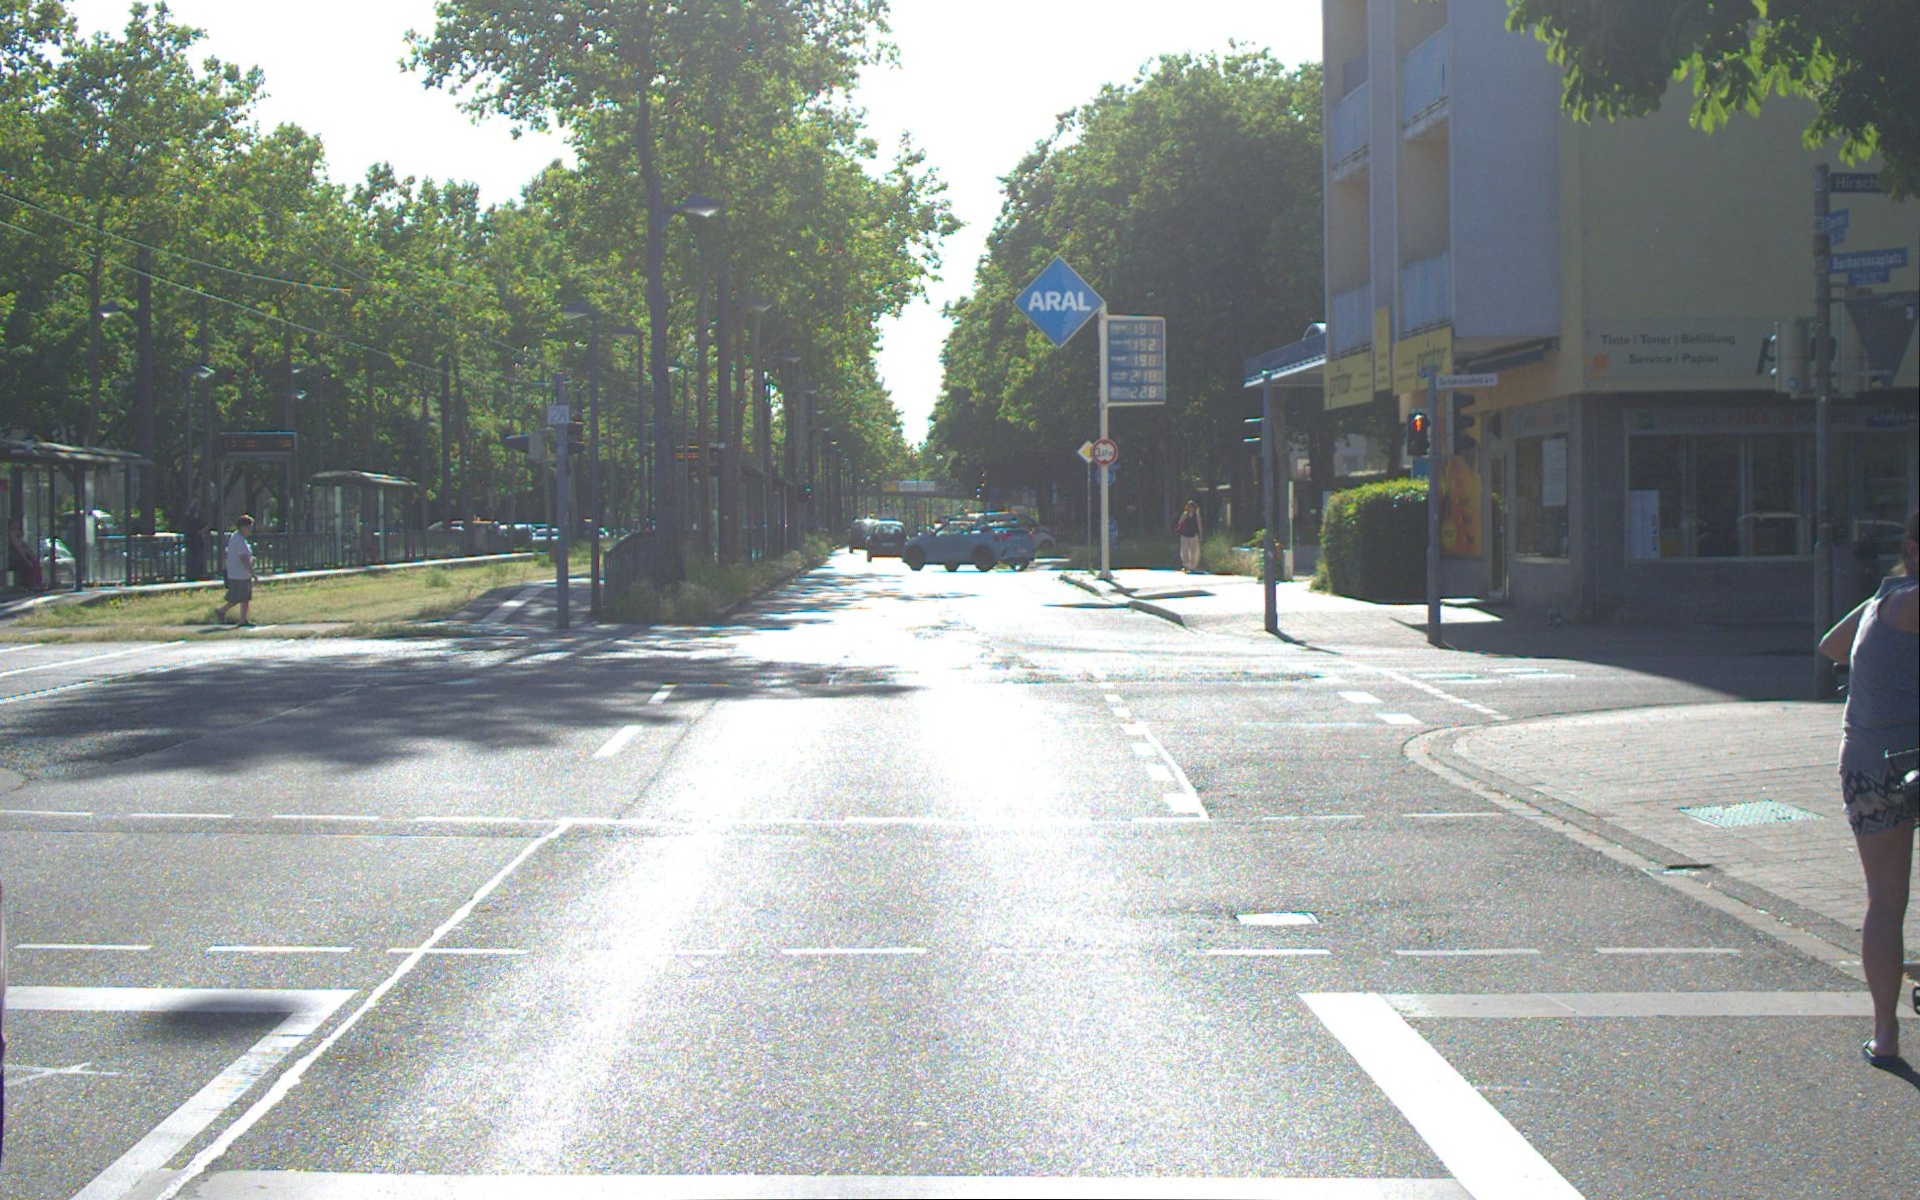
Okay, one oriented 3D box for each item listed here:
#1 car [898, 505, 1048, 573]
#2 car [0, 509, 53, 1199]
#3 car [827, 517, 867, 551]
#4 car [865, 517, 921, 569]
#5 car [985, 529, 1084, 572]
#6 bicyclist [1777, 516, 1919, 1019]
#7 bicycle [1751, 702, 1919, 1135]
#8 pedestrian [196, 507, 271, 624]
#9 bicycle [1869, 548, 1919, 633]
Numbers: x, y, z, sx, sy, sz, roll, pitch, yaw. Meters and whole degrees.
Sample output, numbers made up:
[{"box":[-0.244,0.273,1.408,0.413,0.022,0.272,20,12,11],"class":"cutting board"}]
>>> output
[{"box":[0.363,-1.793,100.776,3.996,1.853,2.007,3,2,40],"class":"car"},{"box":[-3.307,0.504,8.425,1.694,1.503,3.700,1,2,-21],"class":"car"},{"box":[-5.620,-3.302,170.672,1.894,1.605,4.501,2,1,-2],"class":"car"},{"box":[-2.542,-2.170,130.213,1.968,1.853,4.001,2,1,-2],"class":"car"},{"box":[3.273,-2.189,151.390,3.986,1.744,1.755,1,1,-29],"class":"car"},{"box":[2.673,0.439,9.428,0.638,1.318,0.803,2,1,1],"class":"bicyclist"},{"box":[2.670,0.820,9.343,0.648,0.969,1.803,2,1,2],"class":"bicycle"},{"box":[-10.220,-0.486,48.375,0.891,1.601,0.613,2,1,-1],"class":"pedestrian"},{"box":[12.602,-0.118,43.222,2.253,0.984,0.788,1,6,15],"class":"bicycle"}]
